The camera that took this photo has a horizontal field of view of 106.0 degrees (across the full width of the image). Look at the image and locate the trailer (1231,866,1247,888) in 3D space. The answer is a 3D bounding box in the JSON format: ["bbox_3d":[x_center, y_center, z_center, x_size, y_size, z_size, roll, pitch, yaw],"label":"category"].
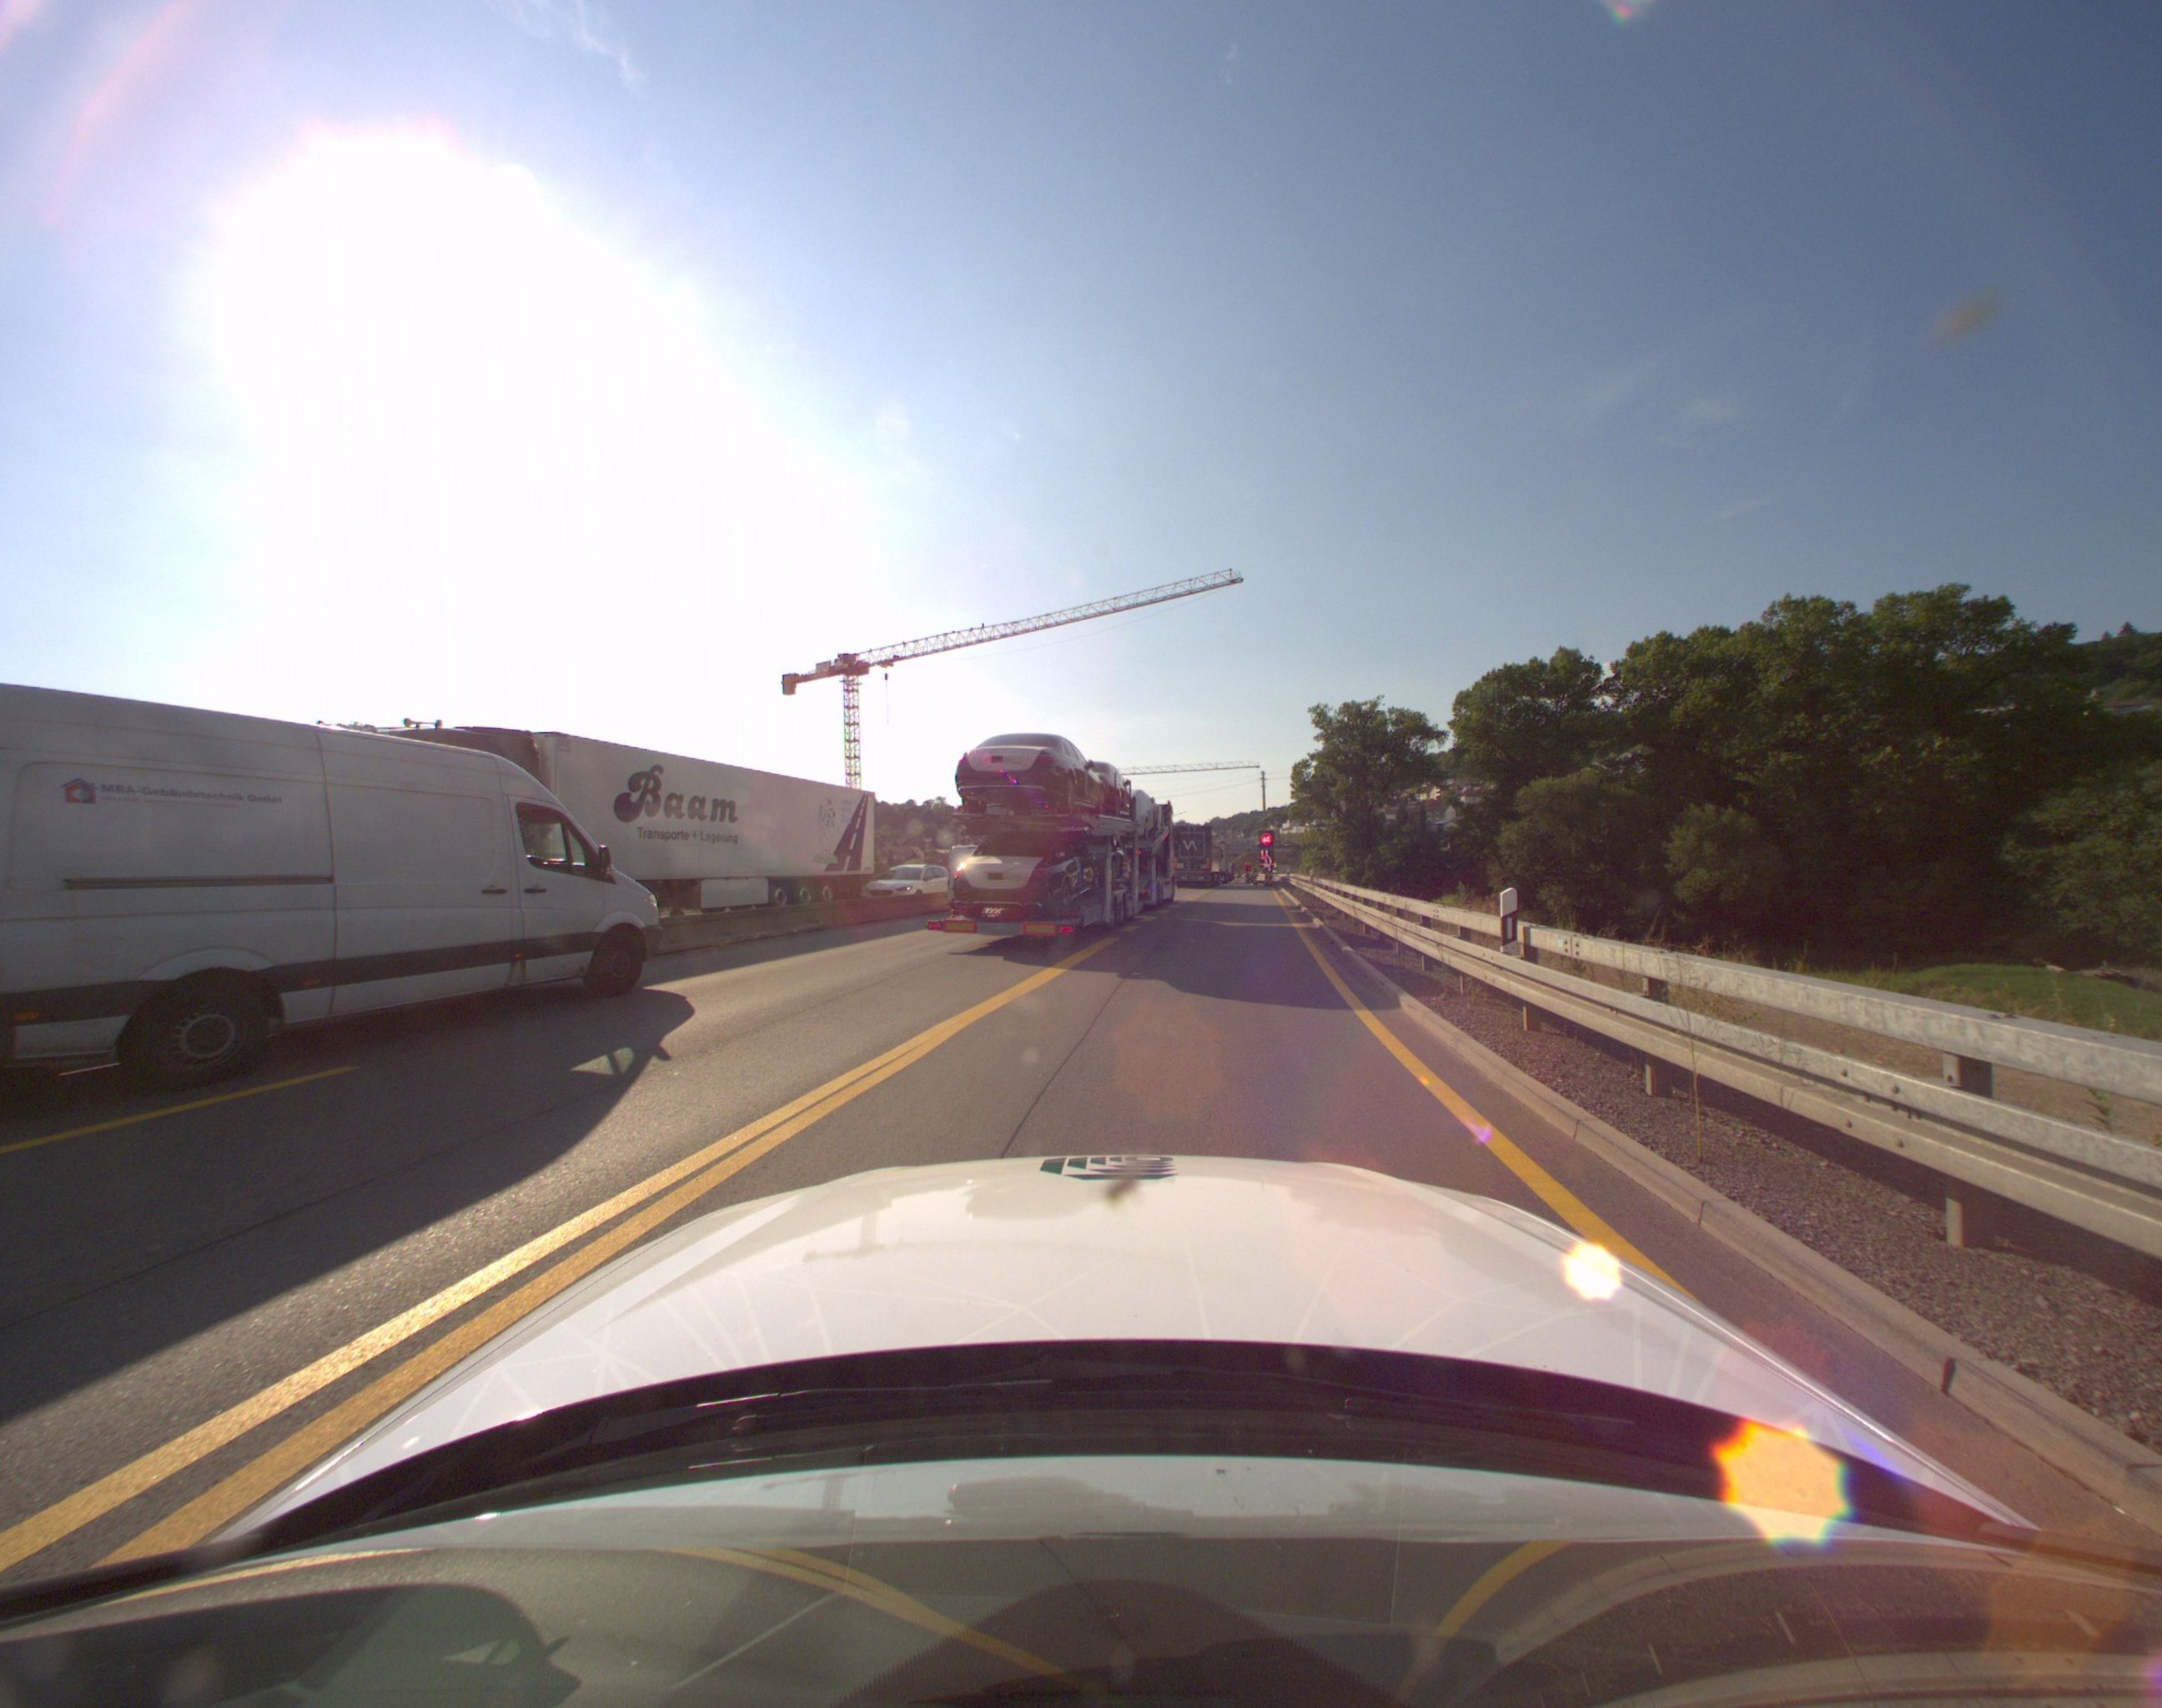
[{"bbox_3d":[33.193,4.719,170.759,3.083,4.314,14.295,-1,-1,11],"label":"trailer"}]

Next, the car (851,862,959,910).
[{"bbox_3d":[-5.660,1.009,26.762,1.896,1.365,4.464,-3,-2,9],"label":"car"}]

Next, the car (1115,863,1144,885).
[{"bbox_3d":[3.965,1.645,66.289,1.819,1.654,4.010,-3,-2,9],"label":"car"}]

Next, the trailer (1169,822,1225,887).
[{"bbox_3d":[8.349,0.148,57.578,2.938,4.092,10.829,-2,-2,13],"label":"trailer"}]

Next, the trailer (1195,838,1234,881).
[{"bbox_3d":[14.040,0.612,84.499,3.363,3.997,14.790,-1,-1,11],"label":"trailer"}]

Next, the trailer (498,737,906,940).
[{"bbox_3d":[-9.374,-0.186,23.681,2.610,4.067,14.125,-3,-2,12],"label":"trailer"}]

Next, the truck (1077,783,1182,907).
[{"bbox_3d":[1.972,-0.228,29.872,2.830,3.997,6.645,-1,-1,11],"label":"truck"}]

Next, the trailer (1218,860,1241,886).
[{"bbox_3d":[24.501,3.152,133.907,3.363,3.997,14.790,-1,-1,11],"label":"trailer"}]

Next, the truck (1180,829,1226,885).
[{"bbox_3d":[9.389,0.264,62.000,2.865,3.997,6.647,-1,-1,13],"label":"truck"}]

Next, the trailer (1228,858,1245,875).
[{"bbox_3d":[40.794,3.265,213.745,4.070,4.314,14.295,-1,-1,11],"label":"trailer"}]

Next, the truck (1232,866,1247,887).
[{"bbox_3d":[34.398,4.812,176.579,3.078,4.286,6.645,-1,-1,11],"label":"truck"}]

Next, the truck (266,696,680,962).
[{"bbox_3d":[-11.125,-0.312,15.816,2.610,4.067,6.150,-3,-2,12],"label":"truck"}]

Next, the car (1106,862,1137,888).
[{"bbox_3d":[3.050,1.548,60.574,1.819,1.752,4.010,-3,-2,9],"label":"car"}]

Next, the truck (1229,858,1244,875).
[{"bbox_3d":[42.225,3.362,220.880,4.002,4.286,6.645,-1,-1,11],"label":"truck"}]

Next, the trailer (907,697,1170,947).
[{"bbox_3d":[0.103,-0.356,20.996,2.838,3.997,15.794,-1,-1,11],"label":"trailer"}]

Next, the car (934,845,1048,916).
[{"bbox_3d":[-2.650,0.776,25.502,2.015,1.981,4.996,0,0,12],"label":"car"}]

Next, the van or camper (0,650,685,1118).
[{"bbox_3d":[-6.471,0.218,7.306,1.980,2.620,5.923,-1,-1,12],"label":"van or camper"}]
